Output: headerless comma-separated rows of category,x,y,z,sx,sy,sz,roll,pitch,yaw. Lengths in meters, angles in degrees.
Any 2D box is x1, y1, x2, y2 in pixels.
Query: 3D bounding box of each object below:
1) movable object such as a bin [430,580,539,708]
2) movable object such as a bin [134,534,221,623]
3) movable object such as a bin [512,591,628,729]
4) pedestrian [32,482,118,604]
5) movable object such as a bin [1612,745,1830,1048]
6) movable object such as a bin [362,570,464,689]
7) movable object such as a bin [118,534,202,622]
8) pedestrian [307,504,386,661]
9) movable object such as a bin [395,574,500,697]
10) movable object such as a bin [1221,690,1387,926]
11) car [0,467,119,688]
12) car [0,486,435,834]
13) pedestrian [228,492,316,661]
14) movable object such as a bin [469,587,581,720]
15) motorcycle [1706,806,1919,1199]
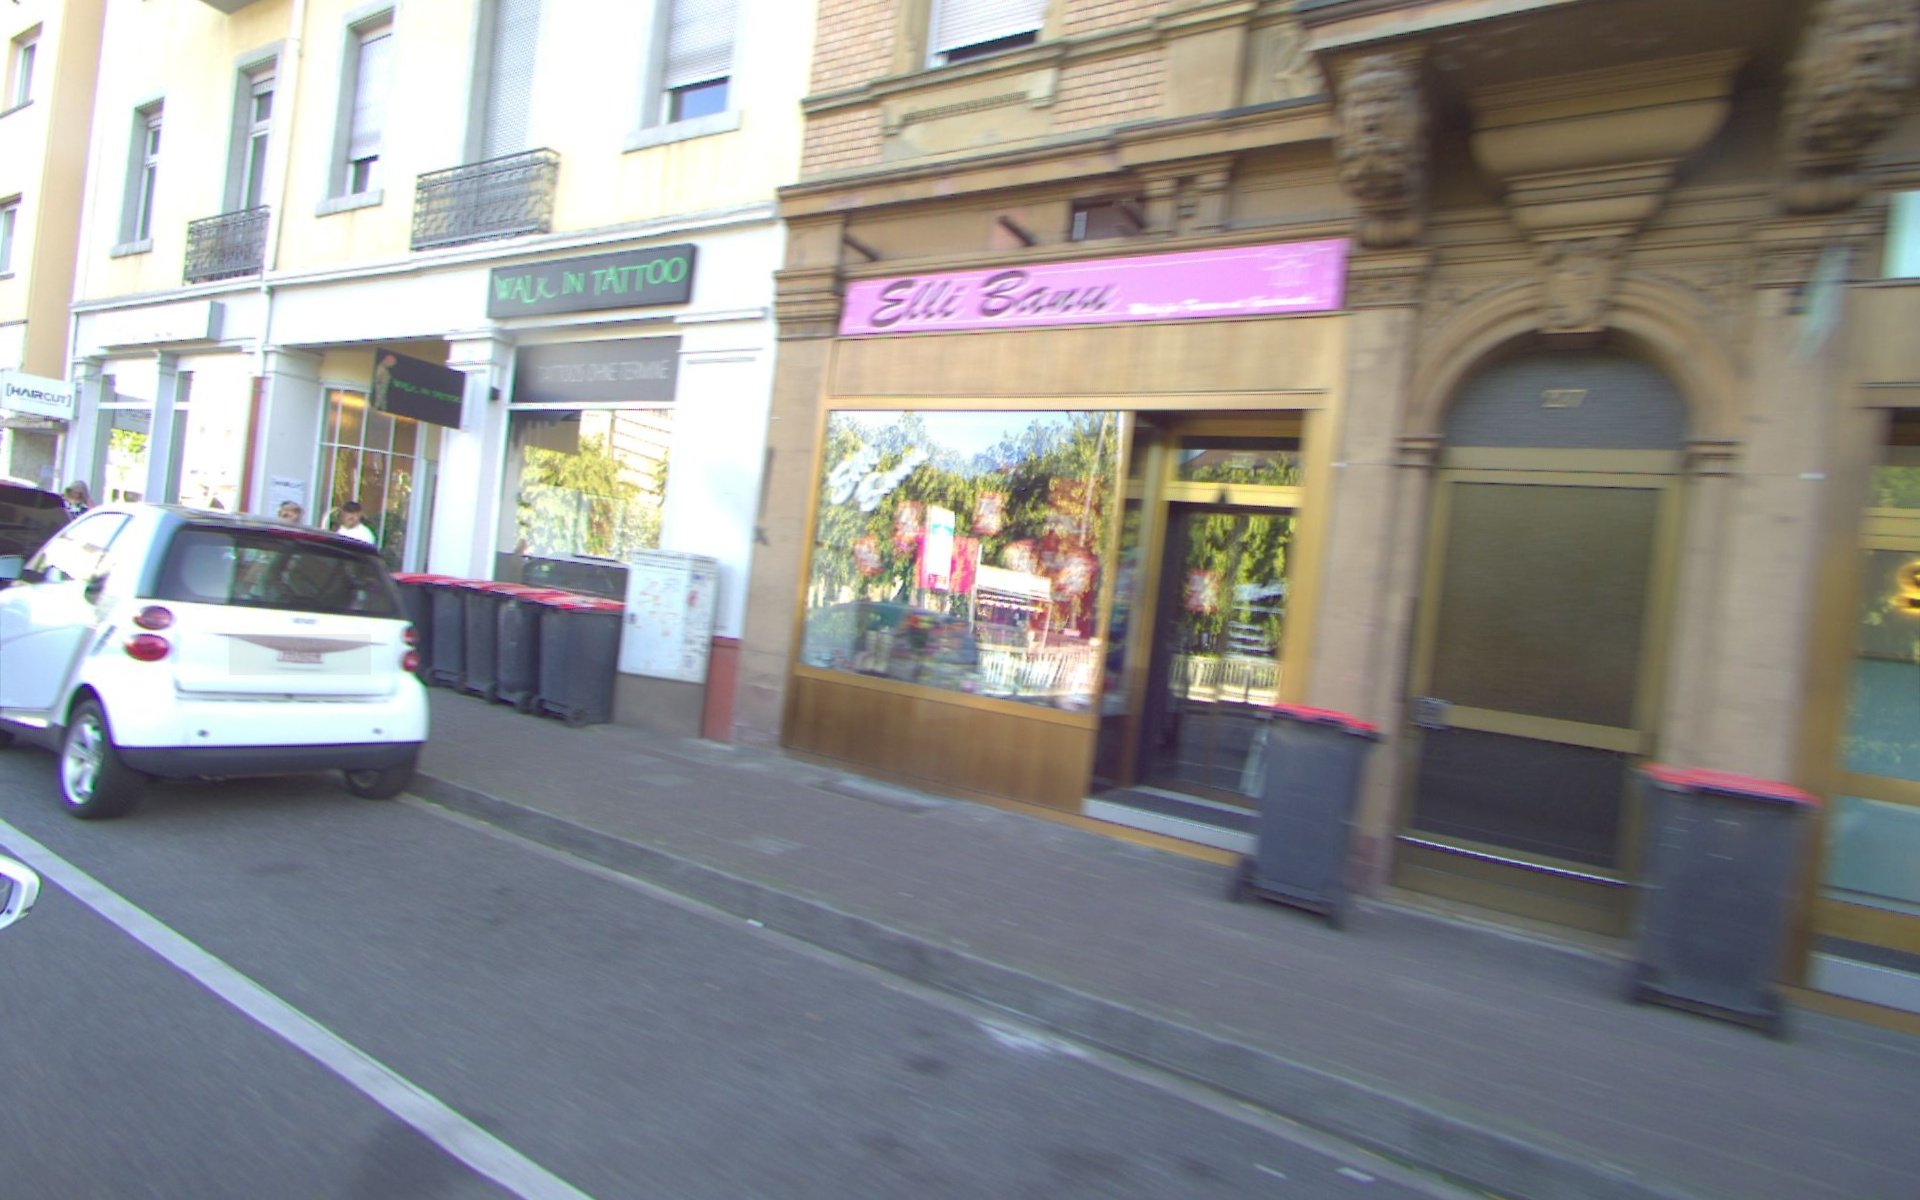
movable object such as a bin,-4.382,0.396,9.278,0.609,1.080,0.605,7,3,32
movable object such as a bin,-9.841,-0.263,12.655,0.610,1.038,0.667,7,3,35
movable object such as a bin,-3.335,0.498,8.610,0.609,1.080,0.605,7,3,32
pedestrian,-12.737,-0.813,14.482,0.523,1.653,0.697,7,1,30
movable object such as a bin,3.399,1.277,4.563,0.609,1.085,0.714,7,2,32
movable object such as a bin,-5.414,0.286,9.960,0.609,1.080,0.605,7,3,32
movable object such as a bin,-10.352,-0.283,13.018,0.610,1.055,0.659,7,3,35
pedestrian,-6.884,-0.191,11.295,0.514,1.681,0.338,6,1,3
movable object such as a bin,-4.886,0.335,9.605,0.609,1.080,0.605,7,3,32
movable object such as a bin,1.896,1.088,5.520,0.609,1.085,0.714,7,2,32
car,-9.712,-0.420,8.950,4.493,1.757,1.759,7,-1,28
car,-4.583,0.248,5.936,2.749,1.536,1.274,7,-1,32
pedestrian,-7.172,-0.240,10.488,0.583,1.681,0.450,7,1,33
movable object such as a bin,-3.862,0.465,8.941,0.609,1.080,0.605,7,3,32
motorcycle,2.533,1.218,1.552,0.854,1.294,2.171,7,-1,-10
